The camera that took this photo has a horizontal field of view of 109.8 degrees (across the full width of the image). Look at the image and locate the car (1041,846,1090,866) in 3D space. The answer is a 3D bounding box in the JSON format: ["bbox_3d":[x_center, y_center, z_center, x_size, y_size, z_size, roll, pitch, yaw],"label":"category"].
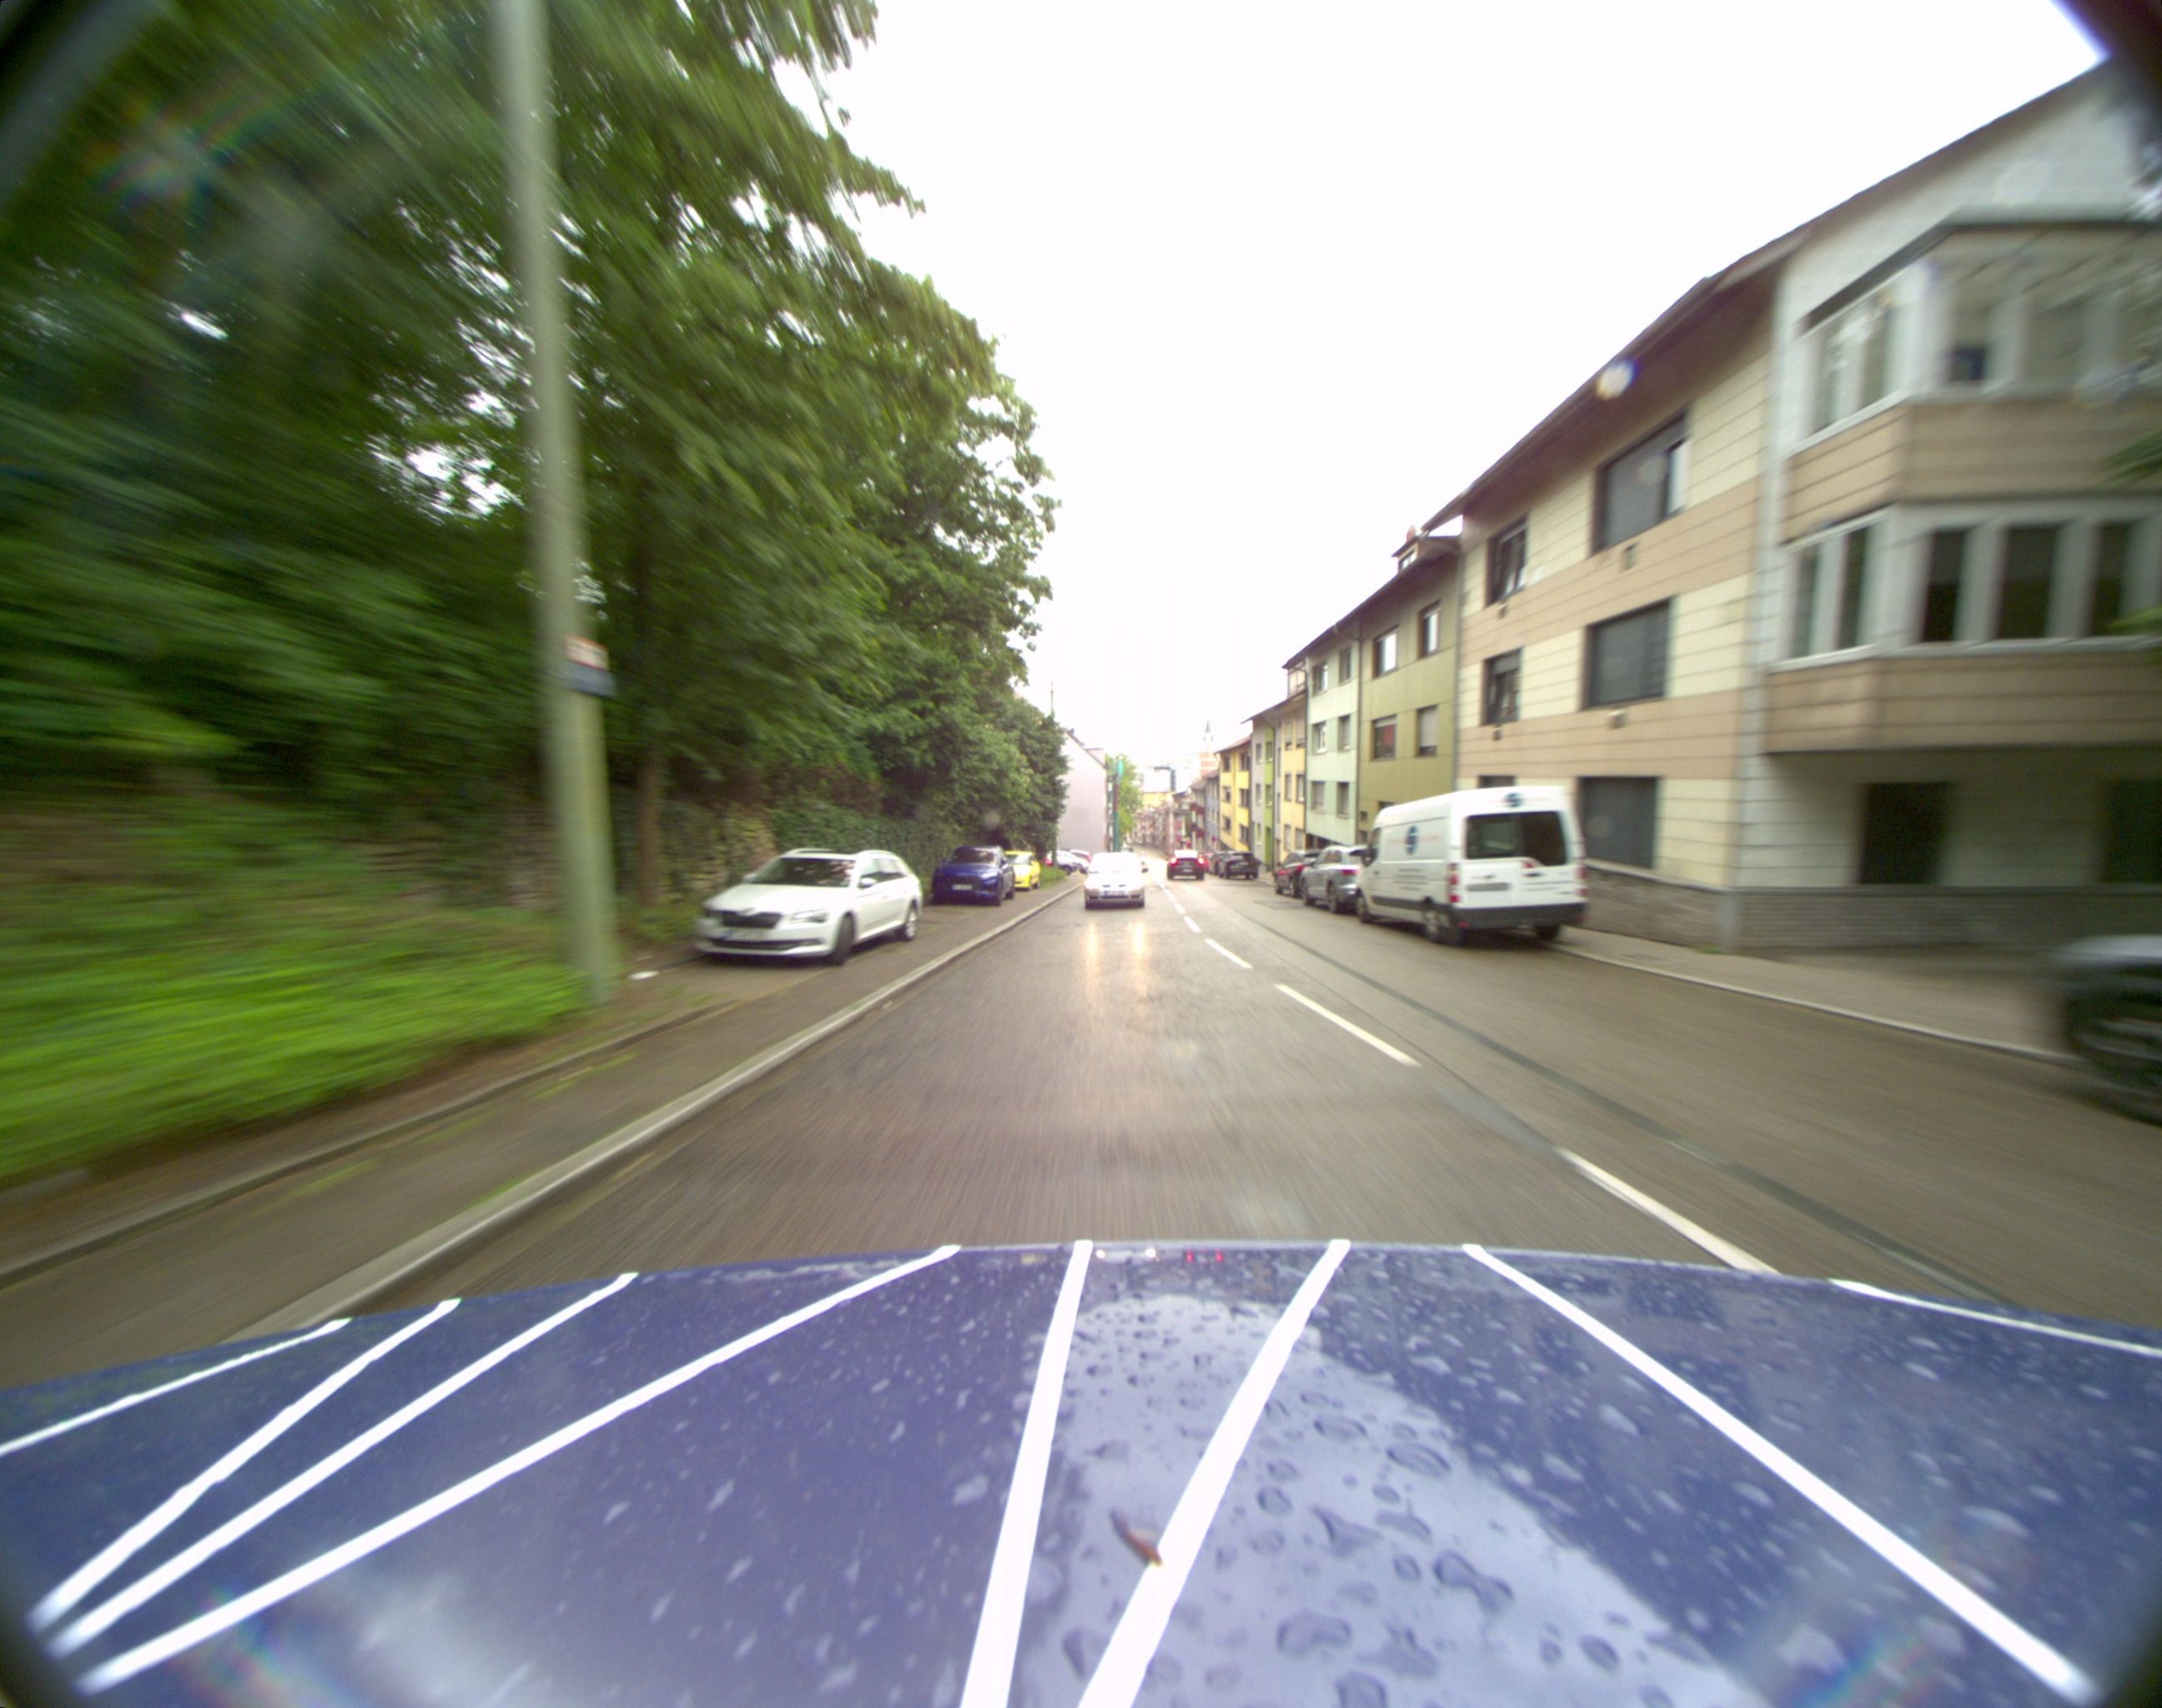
[{"bbox_3d":[-1.351,0.148,67.412,4.192,1.565,1.804,2,1,4],"label":"car"}]

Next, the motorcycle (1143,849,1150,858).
[{"bbox_3d":[8.285,-0.053,96.623,0.778,1.120,2.300,-2,1,6],"label":"motorcycle"}]

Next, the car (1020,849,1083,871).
[{"bbox_3d":[-2.023,0.428,52.890,4.192,1.408,1.804,1,1,4],"label":"car"}]

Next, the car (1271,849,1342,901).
[{"bbox_3d":[7.714,0.653,26.383,1.414,1.605,4.384,1,1,4],"label":"car"}]

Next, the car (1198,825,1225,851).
[{"bbox_3d":[13.461,-1.604,78.701,2.122,2.536,5.445,2,1,4],"label":"car"}]

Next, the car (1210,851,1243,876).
[{"bbox_3d":[9.758,0.585,51.189,1.687,1.585,4.056,1,1,4],"label":"car"}]

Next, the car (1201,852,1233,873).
[{"bbox_3d":[10.331,0.630,57.979,1.908,1.528,4.001,1,1,4],"label":"car"}]

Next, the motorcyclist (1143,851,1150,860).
[{"bbox_3d":[8.311,0.139,96.719,0.778,1.120,0.549,-2,1,6],"label":"motorcyclist"}]

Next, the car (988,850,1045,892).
[{"bbox_3d":[-2.438,0.601,29.625,1.567,1.459,3.899,2,1,4],"label":"car"}]

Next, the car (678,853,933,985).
[{"bbox_3d":[-3.739,0.757,11.359,1.742,1.469,4.741,1,1,5],"label":"car"}]

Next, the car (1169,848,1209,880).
[{"bbox_3d":[5.939,0.508,42.177,1.940,1.615,4.500,0,1,4],"label":"car"}]

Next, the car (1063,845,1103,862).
[{"bbox_3d":[0.233,-0.088,80.939,4.192,1.565,1.804,2,1,4],"label":"car"}]

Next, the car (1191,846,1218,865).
[{"bbox_3d":[10.992,0.078,67.928,1.908,1.647,4.329,1,1,4],"label":"car"}]

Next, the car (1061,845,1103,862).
[{"bbox_3d":[0.091,-0.043,78.565,4.192,1.565,1.804,2,1,4],"label":"car"}]

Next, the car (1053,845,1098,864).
[{"bbox_3d":[-0.546,0.075,74.743,4.192,1.635,1.803,2,2,4],"label":"car"}]

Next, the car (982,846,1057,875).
[{"bbox_3d":[-3.622,0.348,45.190,4.192,1.585,1.804,-1,1,4],"label":"car"}]

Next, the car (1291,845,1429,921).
[{"bbox_3d":[7.170,0.648,20.121,1.970,1.729,4.885,1,1,2],"label":"car"}]

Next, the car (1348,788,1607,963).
[{"bbox_3d":[6.812,0.280,13.962,2.122,2.536,5.445,2,1,4],"label":"car"}]

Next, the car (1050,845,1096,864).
[{"bbox_3d":[-0.776,0.029,72.261,4.192,1.565,1.804,2,1,4],"label":"car"}]

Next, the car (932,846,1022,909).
[{"bbox_3d":[-2.893,0.591,22.240,1.769,1.614,4.679,0,1,3],"label":"car"}]

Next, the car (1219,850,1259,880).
[{"bbox_3d":[9.052,0.579,43.756,1.696,1.585,4.000,1,1,3],"label":"car"}]

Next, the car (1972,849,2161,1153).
[{"bbox_3d":[6.436,0.812,2.740,1.648,1.595,4.186,2,1,4],"label":"car"}]

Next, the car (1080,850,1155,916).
[{"bbox_3d":[1.134,0.748,21.638,1.825,1.603,4.190,-2,1,7],"label":"car"}]

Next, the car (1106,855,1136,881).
[{"bbox_3d":[2.747,0.938,52.397,1.998,1.603,3.967,-1,1,3],"label":"car"}]

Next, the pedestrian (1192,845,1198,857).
[{"bbox_3d":[15.573,-0.454,103.734,0.805,1.608,0.455,-1,1,6],"label":"pedestrian"}]
